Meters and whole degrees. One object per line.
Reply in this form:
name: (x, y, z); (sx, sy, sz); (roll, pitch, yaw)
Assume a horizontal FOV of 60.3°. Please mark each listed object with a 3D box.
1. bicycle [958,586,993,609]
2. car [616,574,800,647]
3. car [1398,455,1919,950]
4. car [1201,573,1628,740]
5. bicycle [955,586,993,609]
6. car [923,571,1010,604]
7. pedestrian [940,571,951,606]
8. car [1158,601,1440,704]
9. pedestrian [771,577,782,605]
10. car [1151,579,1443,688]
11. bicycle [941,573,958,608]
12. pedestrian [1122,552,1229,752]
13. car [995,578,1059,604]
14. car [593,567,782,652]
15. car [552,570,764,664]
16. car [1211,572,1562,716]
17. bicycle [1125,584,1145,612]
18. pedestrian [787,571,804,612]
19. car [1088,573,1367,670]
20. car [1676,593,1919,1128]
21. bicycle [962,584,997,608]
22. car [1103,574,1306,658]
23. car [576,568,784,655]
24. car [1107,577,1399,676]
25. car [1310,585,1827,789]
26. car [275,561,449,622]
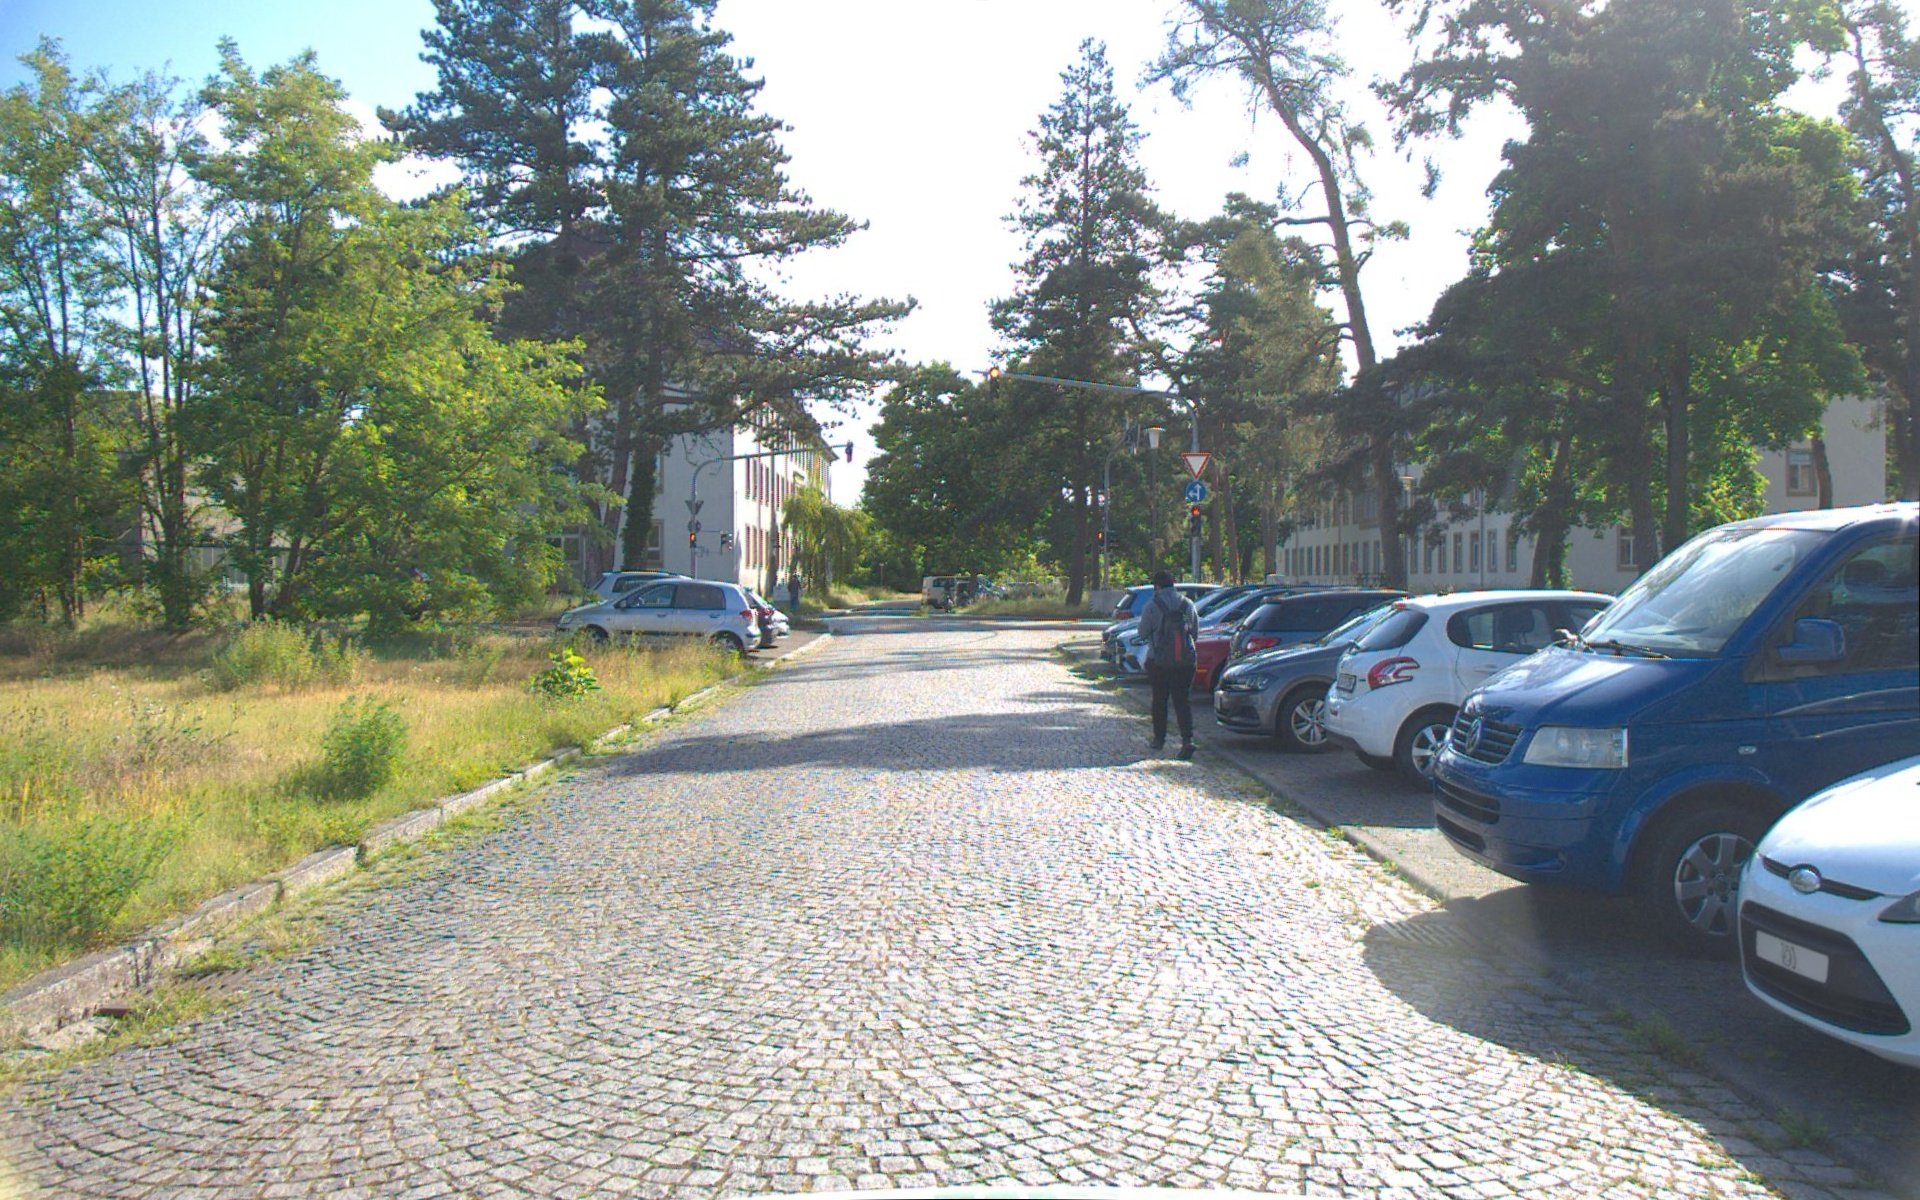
bicycle: (0.742, -0.143, 81.126); (1.693, 1.131, 0.484); (0, 0, -4)
car: (-5.869, 0.227, 38.753); (3.903, 1.522, 1.774); (2, 1, 4)
car: (4.750, 0.372, 8.059); (4.657, 2.048, 2.000); (-2, 1, 0)
car: (4.348, 0.514, 16.231); (3.703, 1.476, 1.758); (-1, 1, 1)
bicycle: (0.681, -0.137, 80.580); (1.798, 1.131, 0.495); (0, 0, -4)
car: (0.366, -0.741, 98.511); (4.974, 1.951, 1.995); (0, 1, -10)
pedestrian: (-0.849, -0.664, 96.729); (0.582, 2.049, 0.573); (0, 0, 2)
car: (4.379, 0.665, 21.699); (3.390, 1.264, 1.536); (0, 1, 0)
pedestrian: (-10.429, -0.505, 94.193); (0.595, 1.587, 0.544); (1, 1, -7)
car: (4.845, 0.459, 24.094); (3.898, 1.474, 1.655); (-1, 1, -1)
bicycle: (-0.494, -0.433, 77.421); (0.738, 1.608, 2.536); (0, 1, -1)
pedestrian: (1.998, 0.466, 15.444); (0.738, 1.755, 0.828); (5, 0, -1)
car: (4.135, -0.554, 102.448); (3.673, 1.607, 1.738); (0, 1, -8)
car: (-5.886, 0.188, 36.049); (3.802, 1.643, 1.660); (2, 1, -2)
car: (-5.544, 0.298, 30.707); (3.612, 1.554, 1.698); (2, 0, -3)
car: (4.844, 0.475, 19.111); (3.588, 1.480, 1.666); (-2, 1, -1)
bicycle: (7.287, -0.075, 68.770); (0.706, 1.134, 2.586); (0, 1, 9)
pedestrian: (-7.130, -0.373, 71.650); (0.597, 1.783, 0.627); (0, 0, -19)
car: (4.651, 0.349, 29.151); (4.527, 1.481, 1.869); (-2, 1, -3)
car: (4.525, 0.710, 5.432); (3.645, 1.492, 1.609); (-1, 1, -3)
bicycle: (0.966, -0.187, 81.810); (1.693, 1.185, 0.560); (0, 0, -4)
car: (4.633, 0.285, 31.688); (3.598, 1.468, 1.665); (-2, 1, -1)
car: (-5.585, 0.216, 33.370); (3.858, 1.470, 1.690); (3, 1, -2)
car: (4.612, 0.395, 26.438); (4.310, 1.413, 1.788); (-1, 1, -2)
car: (4.769, 0.651, 13.306); (3.570, 1.518, 1.634); (0, 1, 0)
car: (-16.527, -0.241, 45.860); (4.059, 1.636, 2.010); (0, 1, 0)
